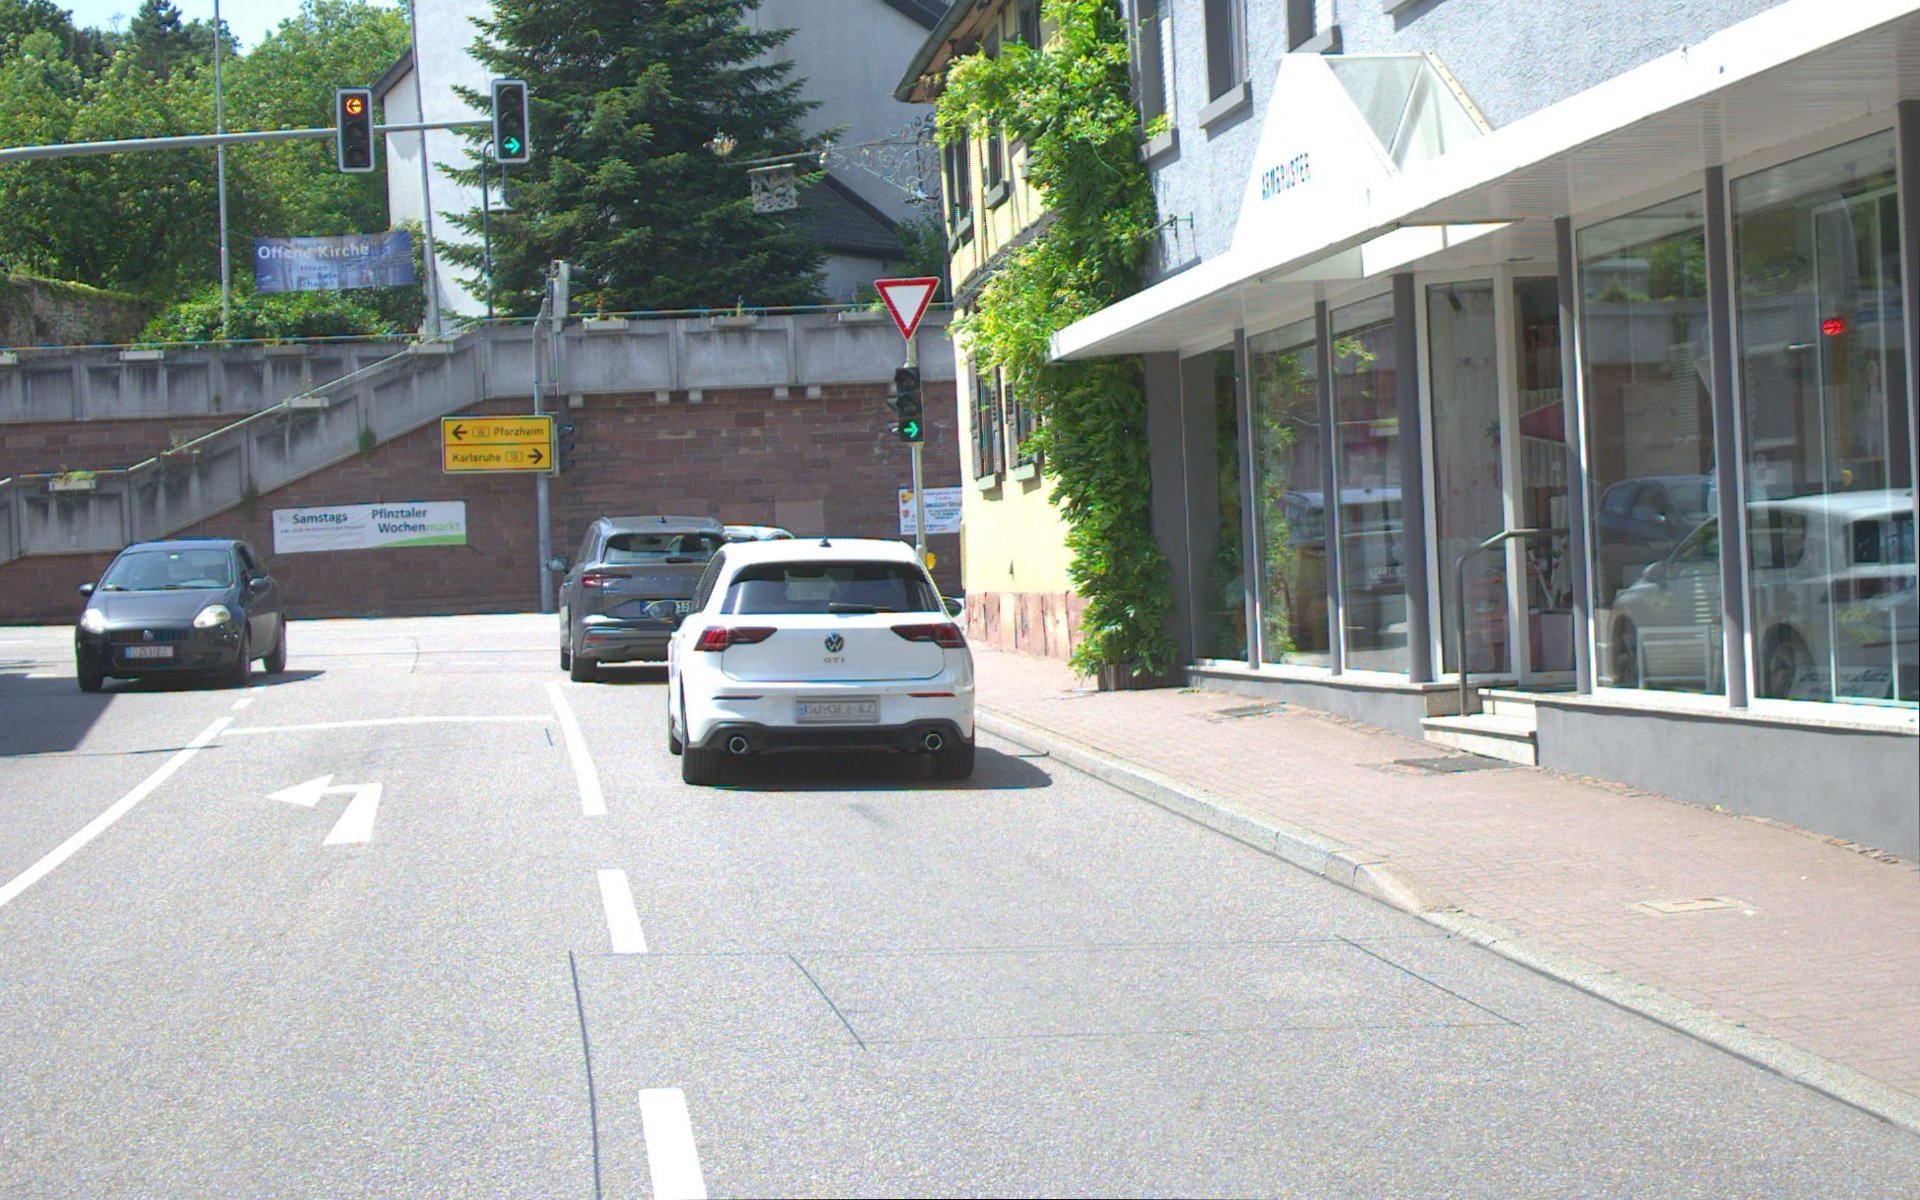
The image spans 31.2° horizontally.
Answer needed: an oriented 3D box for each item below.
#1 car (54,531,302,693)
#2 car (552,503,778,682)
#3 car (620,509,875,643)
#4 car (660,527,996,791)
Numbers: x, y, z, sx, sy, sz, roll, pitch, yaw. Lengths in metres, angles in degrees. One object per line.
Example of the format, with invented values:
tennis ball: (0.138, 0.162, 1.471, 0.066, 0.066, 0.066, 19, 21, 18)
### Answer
car: (-8.010, 0.081, 35.531, 1.717, 1.418, 3.821, -3, 2, -2)
car: (-3.058, -0.132, 34.919, 1.949, 1.577, 4.327, -2, 3, -9)
car: (-2.631, -0.332, 43.451, 1.772, 1.491, 3.984, 0, 3, 19)
car: (-0.924, 0.310, 21.726, 1.782, 1.453, 3.864, -2, 1, -7)
